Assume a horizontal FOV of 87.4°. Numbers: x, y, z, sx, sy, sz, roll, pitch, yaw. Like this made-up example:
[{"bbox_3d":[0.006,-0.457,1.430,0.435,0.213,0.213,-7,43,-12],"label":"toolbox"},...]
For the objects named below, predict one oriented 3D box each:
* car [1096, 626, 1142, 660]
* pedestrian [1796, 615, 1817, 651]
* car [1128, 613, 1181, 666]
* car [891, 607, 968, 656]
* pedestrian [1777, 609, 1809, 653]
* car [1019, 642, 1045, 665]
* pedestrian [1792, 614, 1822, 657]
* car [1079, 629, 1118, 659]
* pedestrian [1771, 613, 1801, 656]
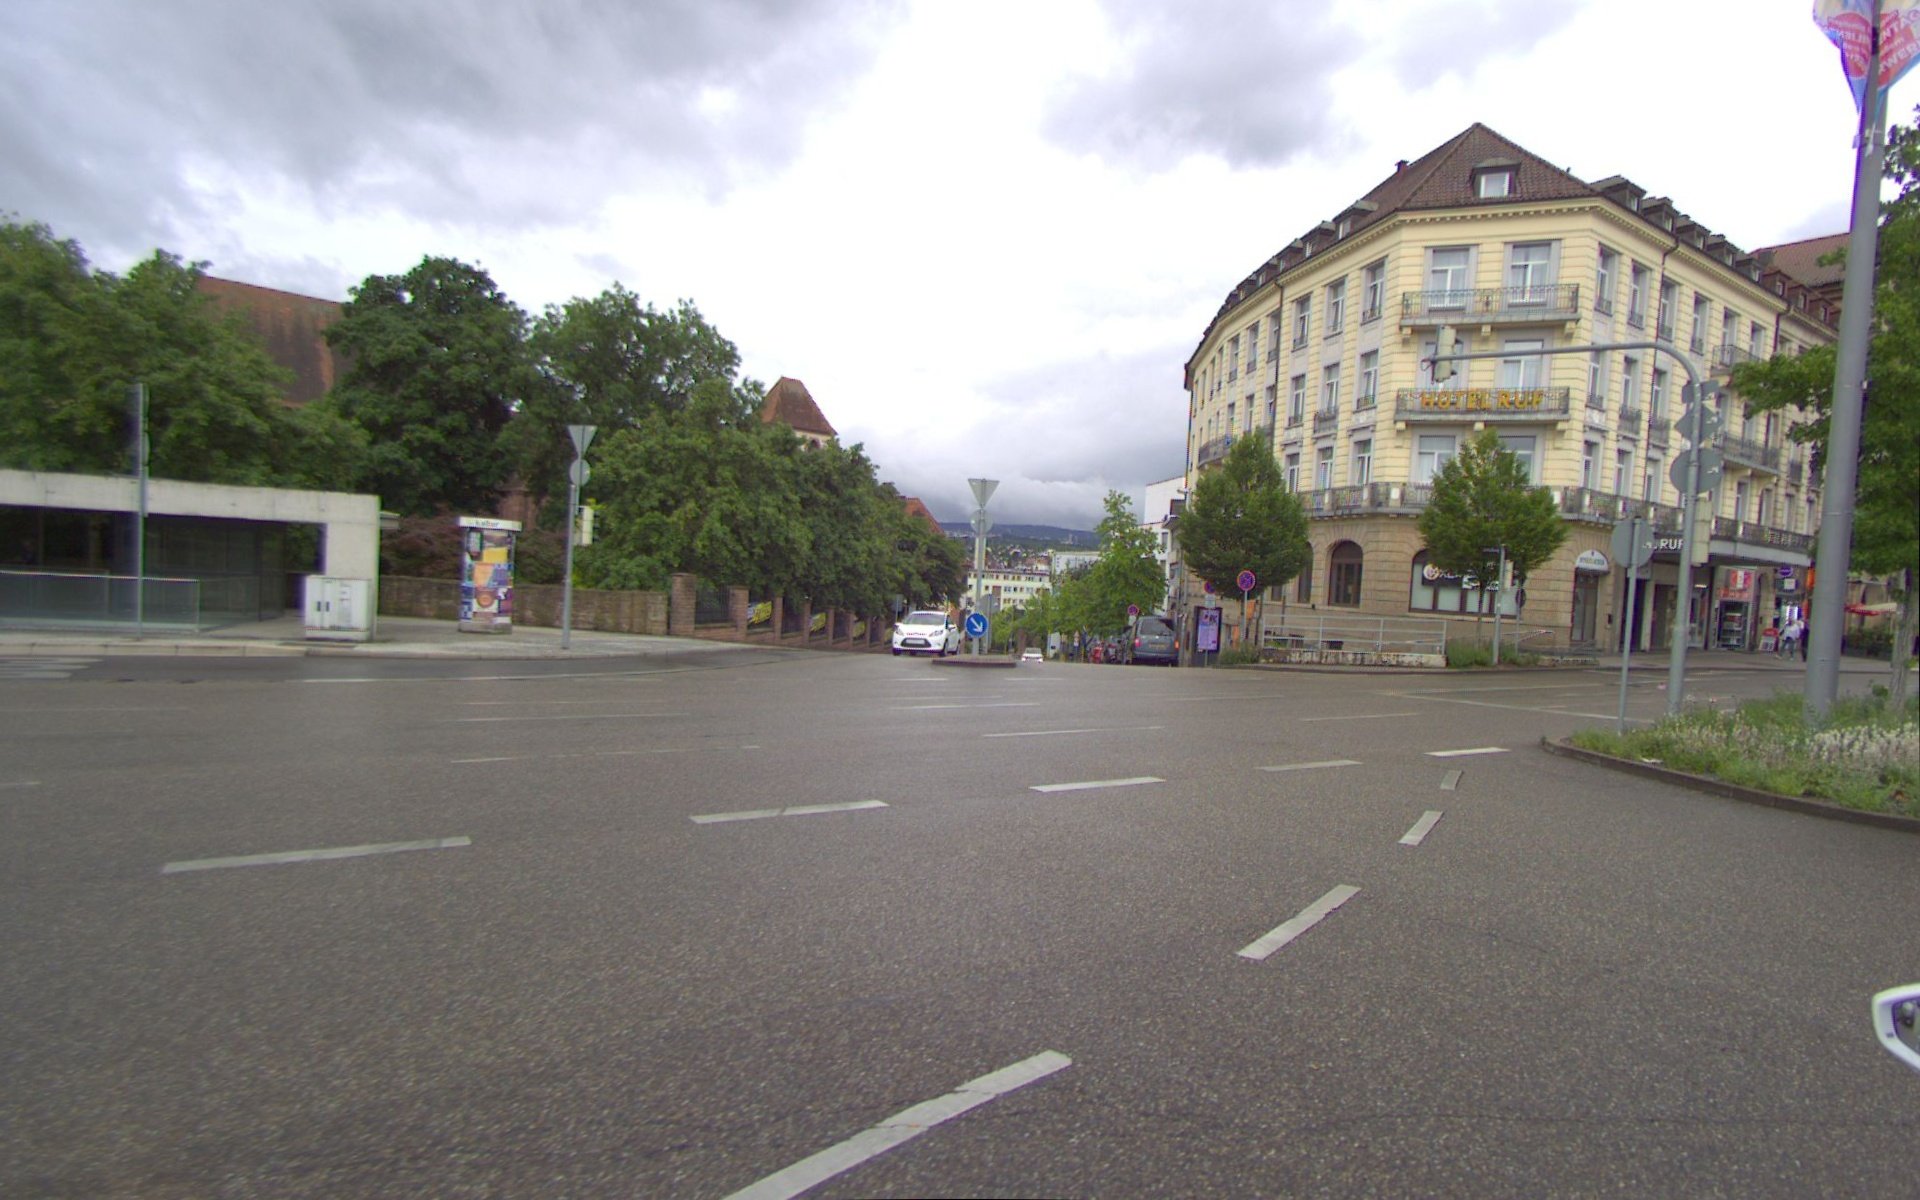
[{"bbox_3d":[7.805,2.093,49.521,1.735,1.498,4.001,2,-1,2],"label":"car"},{"bbox_3d":[41.033,1.608,48.695,0.532,1.686,0.660,2,-1,-42],"label":"pedestrian"},{"bbox_3d":[7.248,1.417,37.741,1.602,1.782,4.002,2,0,7],"label":"car"},{"bbox_3d":[-0.903,0.983,31.997,1.602,1.416,4.003,2,-1,10],"label":"car"},{"bbox_3d":[35.556,1.337,42.862,0.742,1.836,0.874,2,-1,-33],"label":"pedestrian"},{"bbox_3d":[5.980,4.408,83.328,1.960,1.706,4.002,2,-1,6],"label":"car"},{"bbox_3d":[33.779,1.410,40.069,0.798,1.686,0.677,2,-1,-33],"label":"pedestrian"},{"bbox_3d":[7.629,2.425,55.728,1.735,1.498,4.011,2,-1,2],"label":"car"},{"bbox_3d":[33.401,1.402,40.637,0.798,1.686,0.678,2,-1,-30],"label":"pedestrian"}]
